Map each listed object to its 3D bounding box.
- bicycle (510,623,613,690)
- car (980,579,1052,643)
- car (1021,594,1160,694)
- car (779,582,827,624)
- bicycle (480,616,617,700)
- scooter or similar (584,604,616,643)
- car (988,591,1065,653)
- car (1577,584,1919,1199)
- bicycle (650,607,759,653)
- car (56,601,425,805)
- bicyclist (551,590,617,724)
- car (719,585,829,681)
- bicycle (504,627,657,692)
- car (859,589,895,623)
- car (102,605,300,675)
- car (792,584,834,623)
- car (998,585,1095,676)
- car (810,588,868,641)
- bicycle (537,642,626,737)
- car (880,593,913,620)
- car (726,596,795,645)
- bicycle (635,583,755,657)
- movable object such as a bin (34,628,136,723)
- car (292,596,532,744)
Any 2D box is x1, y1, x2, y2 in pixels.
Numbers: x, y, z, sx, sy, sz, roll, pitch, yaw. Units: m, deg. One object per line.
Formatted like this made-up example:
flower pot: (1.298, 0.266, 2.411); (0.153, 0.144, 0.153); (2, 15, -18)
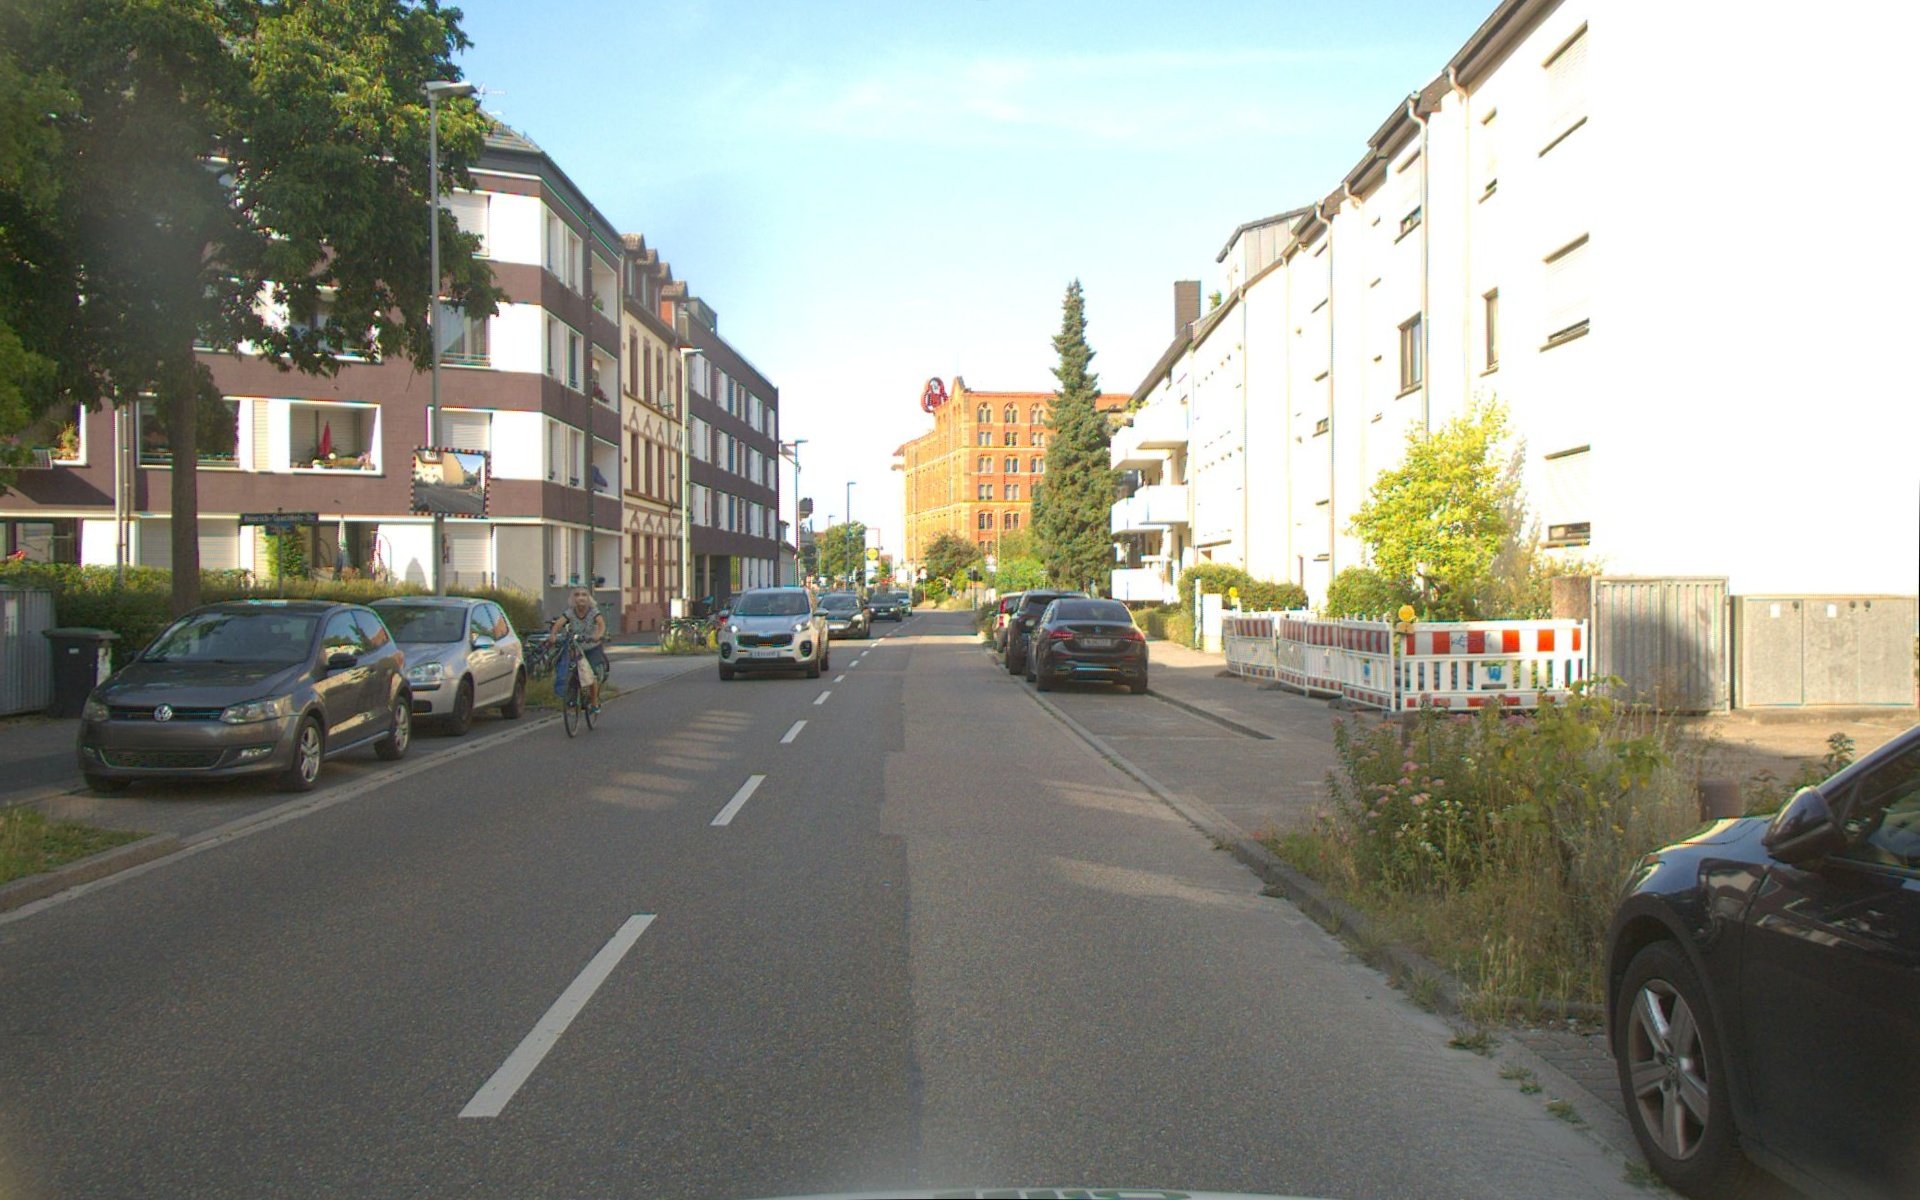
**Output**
bicycle: (-6.505, 0.912, 27.046); (1.555, 1.059, 0.707); (0, 0, -7)
car: (1.620, 0.305, 49.145); (1.953, 1.803, 3.999); (0, 0, -1)
car: (2.063, 0.673, 27.230); (1.821, 1.497, 3.998); (-1, 0, -2)
car: (-7.419, 0.125, 78.341); (1.953, 1.914, 3.999); (0, 0, -2)
bicycle: (-6.320, 0.881, 25.462); (1.963, 1.238, 0.707); (0, 0, -8)
scooter or similar: (-10.754, 0.702, 49.417); (0.621, 1.123, 1.610); (1, 0, -1)
car: (1.720, 0.552, 44.095); (1.728, 1.552, 3.998); (-1, 0, -2)
car: (2.729, 0.720, 2.842); (1.793, 1.508, 3.942); (-1, 0, -1)
bicycle: (-6.789, 0.782, 44.059); (2.716, 1.164, 1.143); (-1, 0, -1)
car: (-5.797, 0.743, 13.823); (1.542, 1.445, 3.802); (0, 0, -2)
bicyclist: (-4.212, 0.623, 18.555); (0.579, 1.467, 0.750); (0, 0, -1)
car: (-3.427, 0.569, 31.091); (1.728, 1.644, 3.998); (-1, 0, -2)
bicycle: (-6.021, 0.940, 26.350); (2.295, 0.987, 0.707); (0, 0, -7)
car: (-4.211, 0.294, 84.303); (1.728, 1.644, 3.998); (-1, 0, -2)
car: (-15.248, 0.771, 33.264); (3.416, 1.310, 1.645); (-1, 0, -34)
car: (-7.832, 0.176, 88.297); (1.953, 2.049, 3.999); (0, 0, -2)
car: (1.651, 0.560, 32.454); (1.569, 1.674, 3.683); (-1, 0, -2)
car: (-3.994, 0.456, 55.109); (1.728, 1.644, 3.998); (-1, 0, -2)
bicycle: (-4.211, 0.979, 18.514); (0.596, 0.959, 1.811); (0, 0, -1)
car: (-3.948, 0.398, 103.150); (1.953, 1.624, 3.999); (0, 0, -2)
car: (-6.211, 0.614, 51.893); (1.803, 1.489, 3.583); (0, 0, -2)
bicycle: (-6.742, 0.503, 42.288); (2.858, 1.808, 1.202); (-1, 0, -1)
movable object such as a bin: (-10.377, 0.883, 19.644); (0.737, 1.058, 0.816); (3, 0, -1)
car: (-6.196, 0.717, 19.148); (1.643, 1.528, 3.997); (0, 0, -3)
